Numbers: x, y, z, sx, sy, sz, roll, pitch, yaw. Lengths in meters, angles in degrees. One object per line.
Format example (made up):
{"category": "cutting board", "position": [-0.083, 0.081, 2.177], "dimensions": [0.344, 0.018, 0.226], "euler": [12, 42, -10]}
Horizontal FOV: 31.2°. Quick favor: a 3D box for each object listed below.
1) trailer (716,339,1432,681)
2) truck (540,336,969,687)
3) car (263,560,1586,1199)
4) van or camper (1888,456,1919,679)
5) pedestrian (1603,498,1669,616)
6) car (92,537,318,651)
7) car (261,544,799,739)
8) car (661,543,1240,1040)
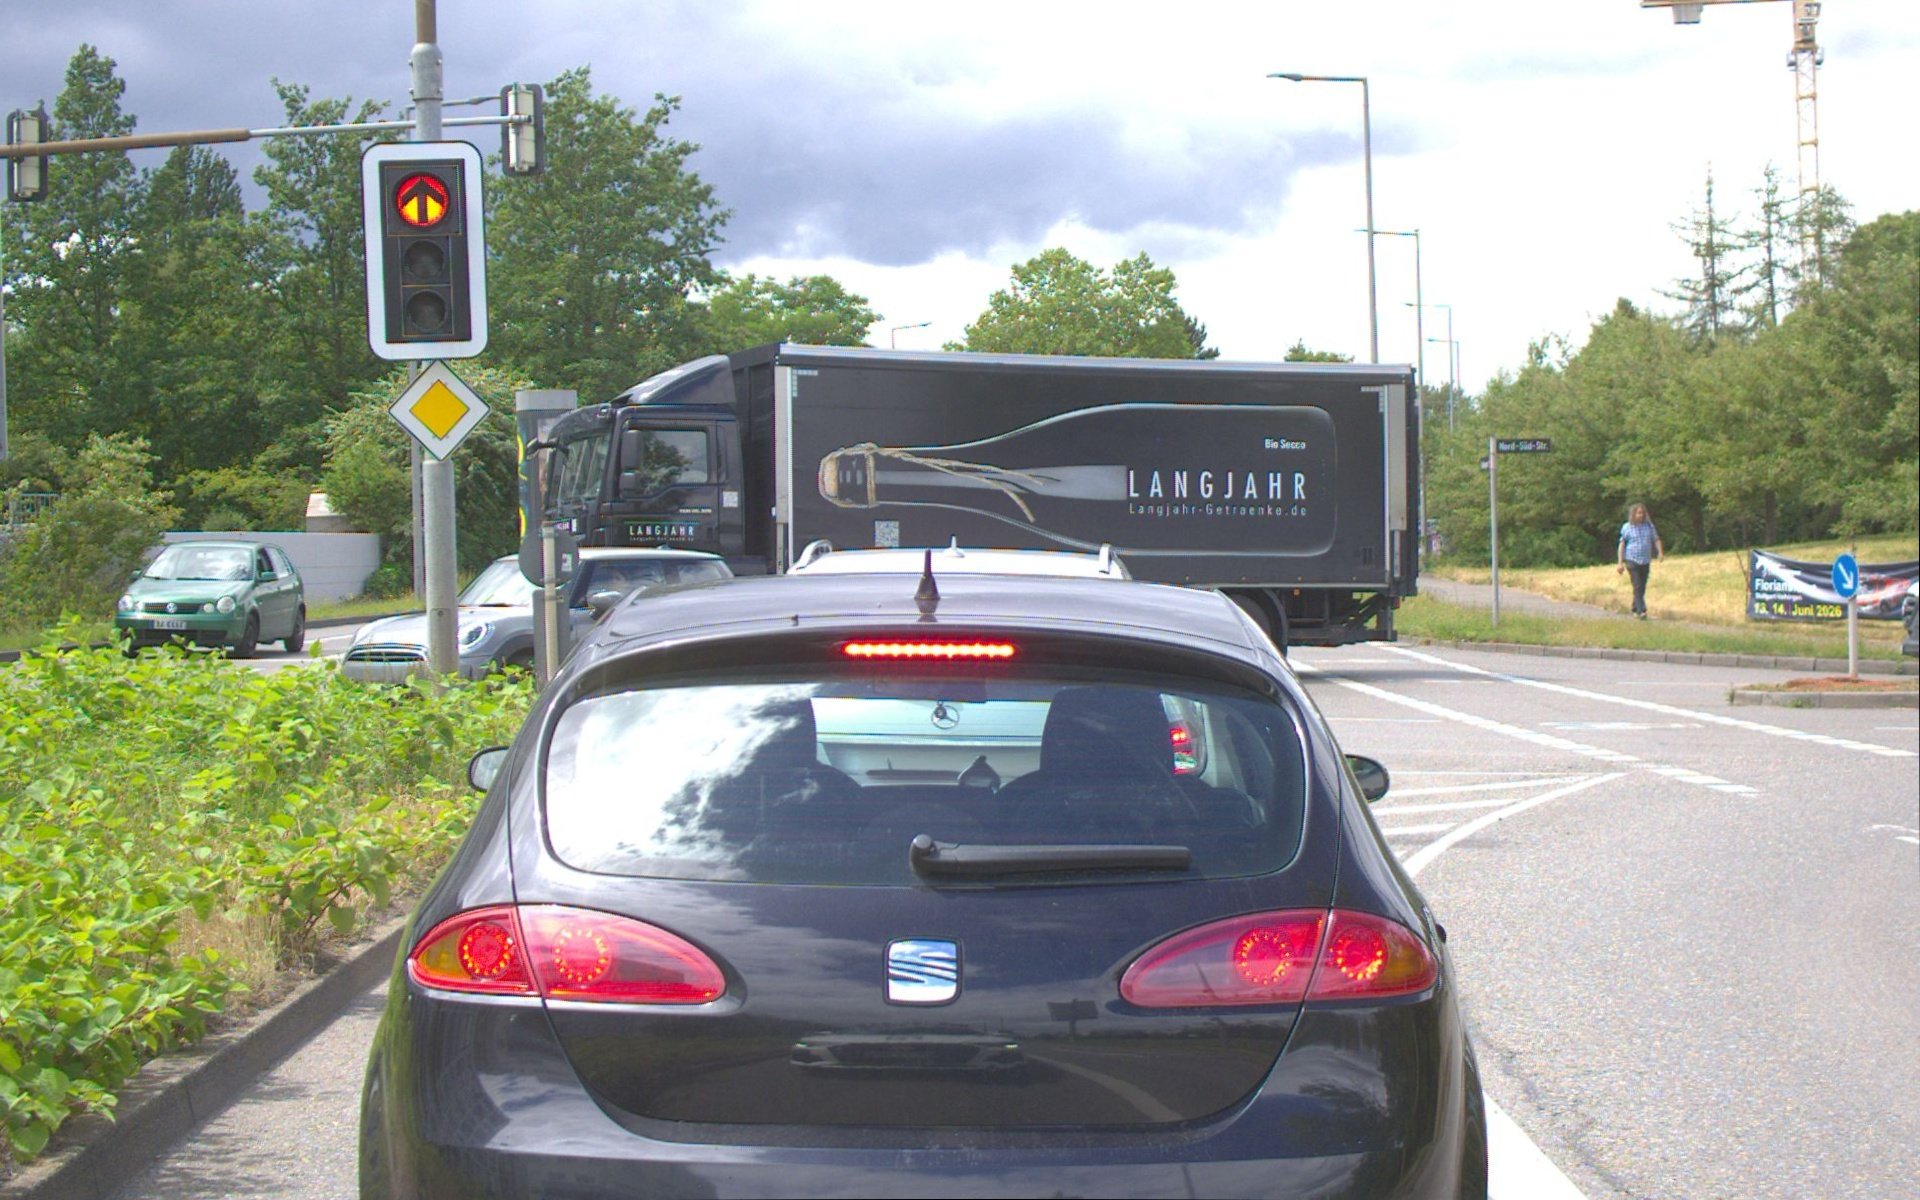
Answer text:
{"category": "trailer", "position": [1.293, -0.970, 37.123], "dimensions": [7.583, 3.446, 2.001], "euler": [-1, 1, -23]}
{"category": "truck", "position": [-2.139, -0.910, 35.590], "dimensions": [3.986, 3.457, 2.001], "euler": [-1, 1, -23]}
{"category": "car", "position": [-0.072, 0.669, 6.411], "dimensions": [1.773, 1.447, 3.582], "euler": [0, 1, -1]}
{"category": "van or camper", "position": [13.816, -0.393, 39.574], "dimensions": [5.919, 2.524, 2.248], "euler": [0, 1, 12]}
{"category": "pedestrian", "position": [10.405, -0.668, 52.933], "dimensions": [0.865, 1.793, 0.761], "euler": [0, 1, -1]}
{"category": "car", "position": [-9.421, -0.113, 43.192], "dimensions": [1.993, 1.347, 4.000], "euler": [0, 1, -1]}
{"category": "car", "position": [-3.387, 0.269, 27.625], "dimensions": [1.998, 1.415, 3.991], "euler": [1, 2, 40]}
{"category": "car", "position": [-0.113, 0.567, 12.524], "dimensions": [1.773, 1.486, 3.583], "euler": [-2, 1, -3]}
